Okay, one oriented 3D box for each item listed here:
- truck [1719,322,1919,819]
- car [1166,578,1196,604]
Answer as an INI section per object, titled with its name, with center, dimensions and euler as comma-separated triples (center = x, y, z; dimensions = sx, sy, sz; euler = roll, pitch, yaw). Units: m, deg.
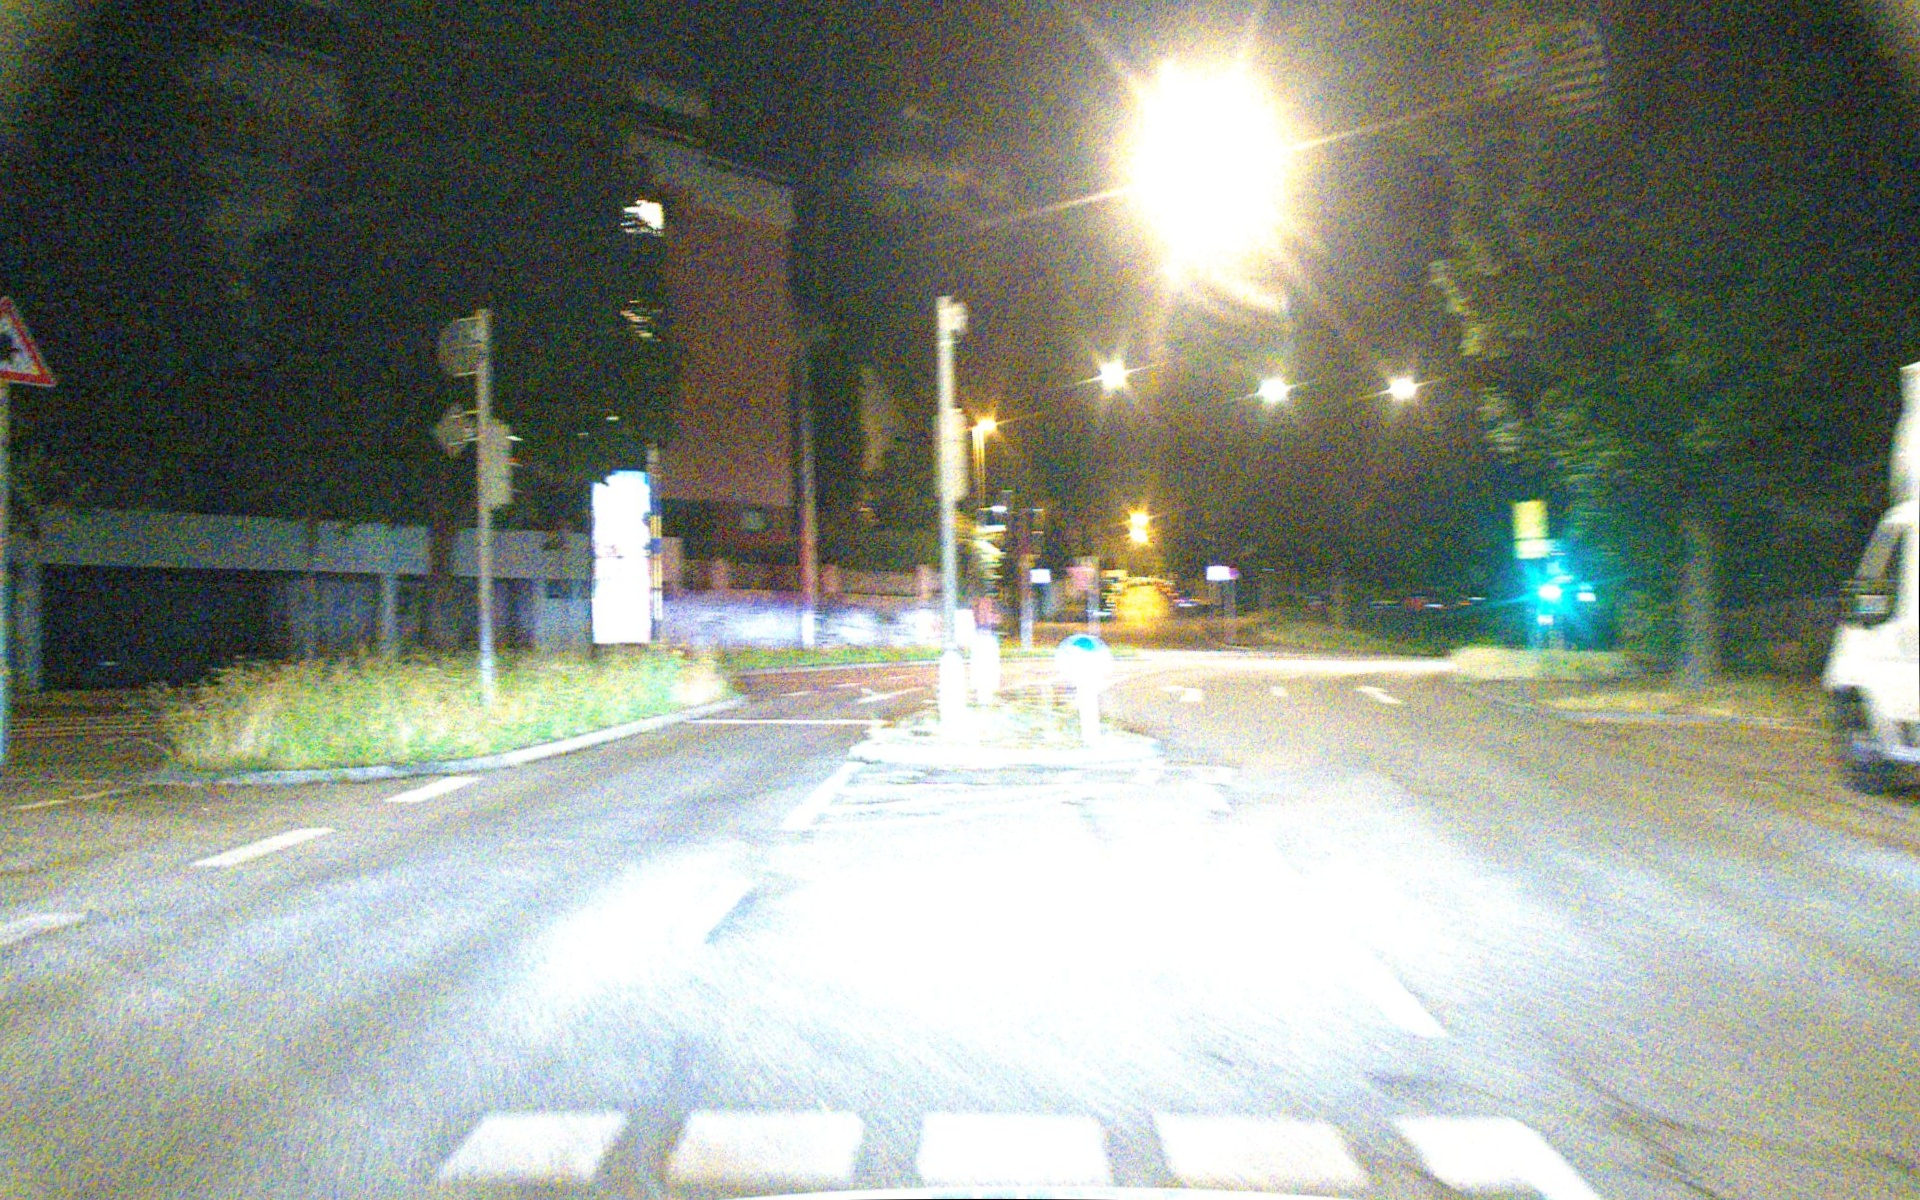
[truck]
center = 7.307, -0.231, 9.908
dimensions = 2.705, 3.097, 7.041
euler = -3, 0, 5
[car]
center = 15.759, -0.621, 118.159
dimensions = 1.951, 1.800, 4.003
euler = 0, 0, 6
